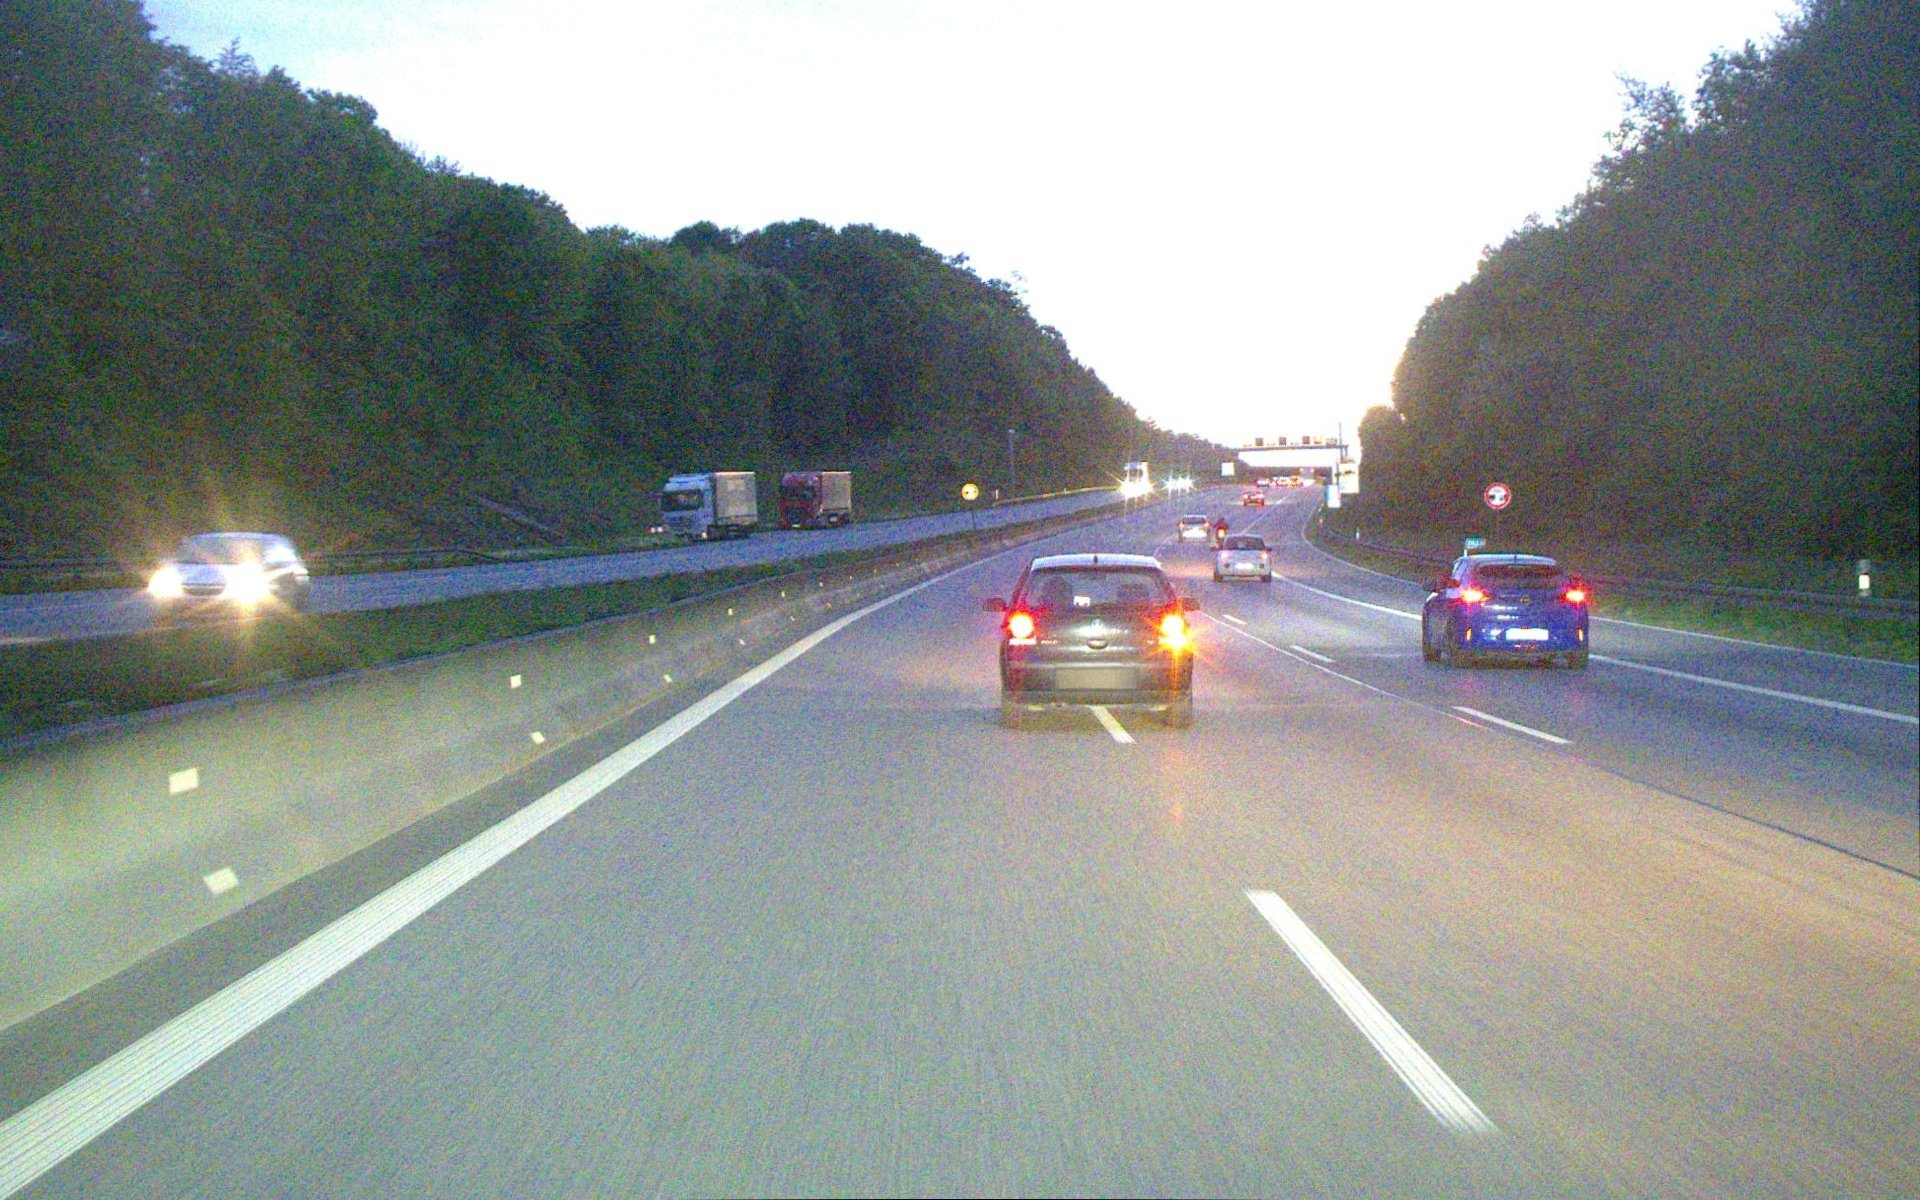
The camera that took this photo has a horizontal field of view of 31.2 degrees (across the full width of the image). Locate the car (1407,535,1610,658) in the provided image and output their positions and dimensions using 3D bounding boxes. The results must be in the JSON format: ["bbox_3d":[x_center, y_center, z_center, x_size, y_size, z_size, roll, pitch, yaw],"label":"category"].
[{"bbox_3d":[7.014,-0.086,44.386,1.865,1.431,4.584,1,2,0],"label":"car"}]

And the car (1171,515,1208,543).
[{"bbox_3d":[12.537,-3.870,187.646,1.865,1.489,4.399,1,1,2],"label":"car"}]

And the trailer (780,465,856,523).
[{"bbox_3d":[-10.262,-7.689,250.047,3.192,4.090,14.180,0,2,7],"label":"trailer"}]

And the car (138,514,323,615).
[{"bbox_3d":[-11.205,-0.572,53.061,1.820,1.474,4.371,1,1,1],"label":"car"}]

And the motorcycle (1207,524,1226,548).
[{"bbox_3d":[12.677,-3.164,170.118,0.830,1.130,2.475,-1,1,6],"label":"motorcycle"}]

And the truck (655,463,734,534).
[{"bbox_3d":[-15.698,-6.025,203.857,3.192,4.090,7.688,0,2,7],"label":"truck"}]

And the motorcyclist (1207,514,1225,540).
[{"bbox_3d":[12.658,-3.617,170.040,0.830,1.287,1.190,-1,1,6],"label":"motorcyclist"}]

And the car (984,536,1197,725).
[{"bbox_3d":[1.089,0.205,29.956,1.704,1.504,4.232,1,1,1],"label":"car"}]

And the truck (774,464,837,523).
[{"bbox_3d":[-10.972,-7.582,244.492,3.192,4.090,7.688,0,2,7],"label":"truck"}]

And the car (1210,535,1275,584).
[{"bbox_3d":[8.778,-1.276,107.101,1.826,1.470,4.399,1,1,2],"label":"car"}]

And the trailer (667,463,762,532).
[{"bbox_3d":[-14.926,-6.261,210.216,3.192,4.090,13.737,0,2,7],"label":"trailer"}]
